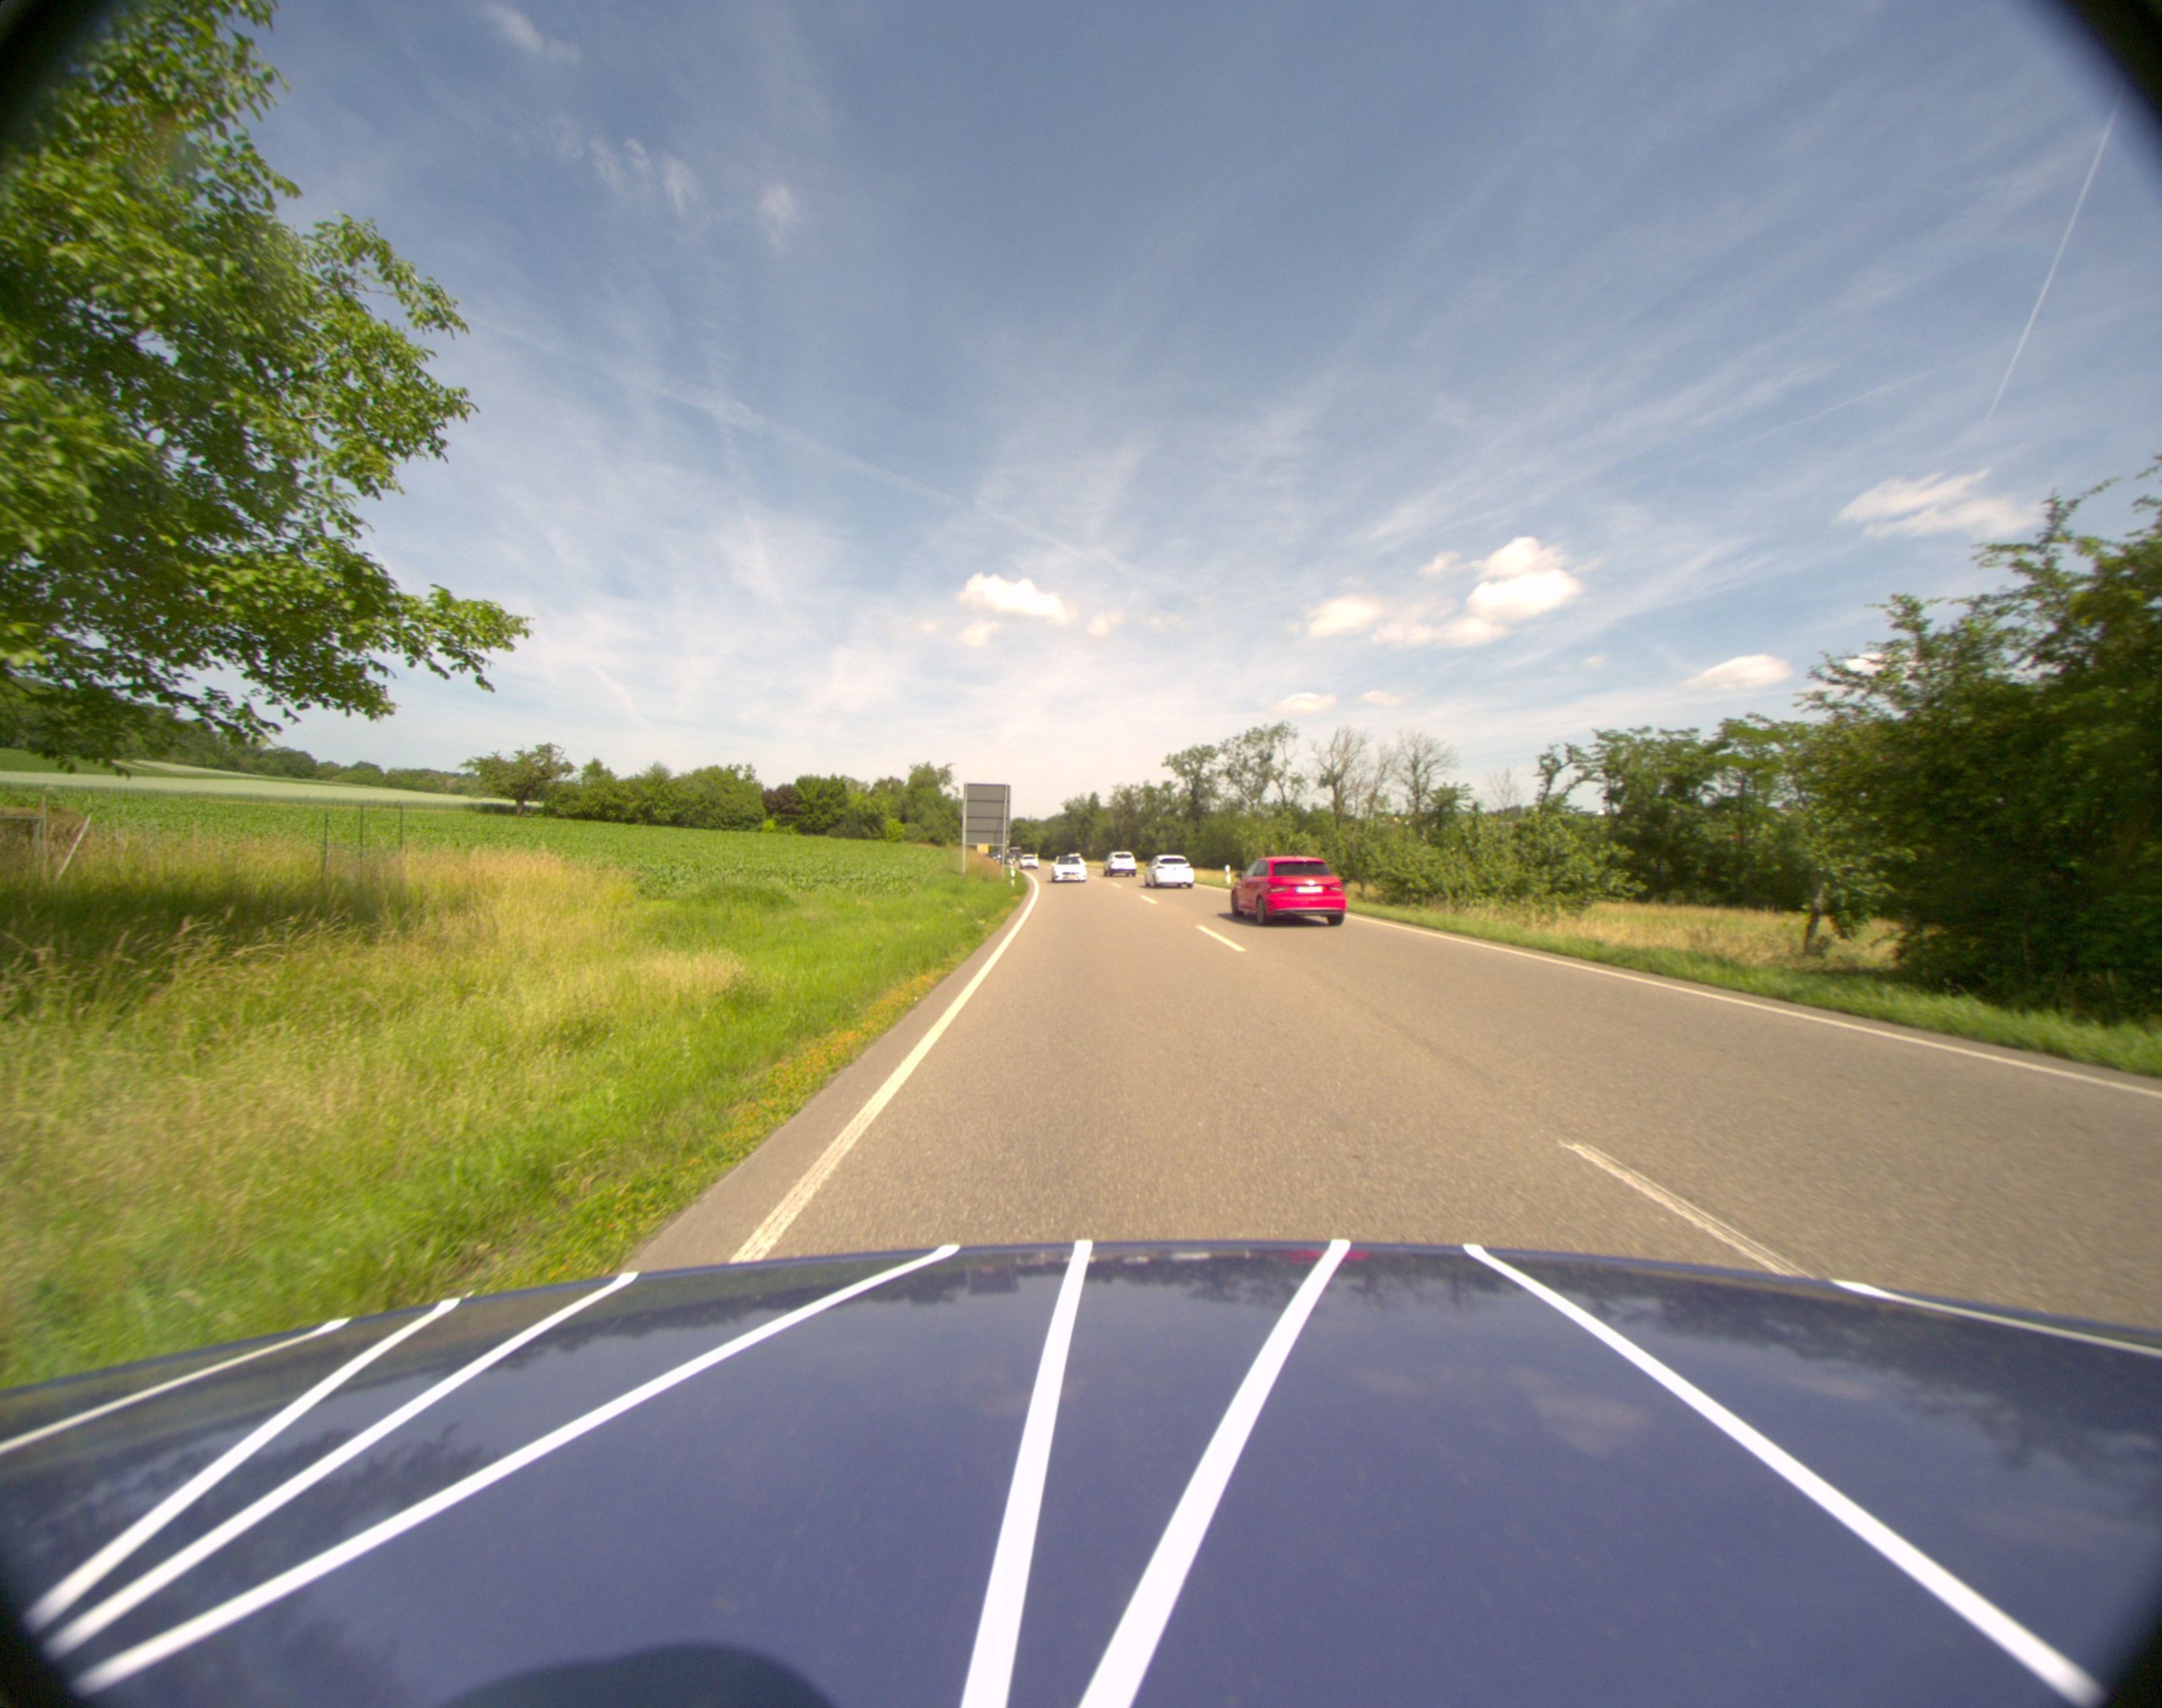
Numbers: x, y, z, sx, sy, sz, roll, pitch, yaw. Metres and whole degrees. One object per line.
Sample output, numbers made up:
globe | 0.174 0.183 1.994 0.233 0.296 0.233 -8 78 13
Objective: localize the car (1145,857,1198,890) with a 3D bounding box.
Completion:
car | 4.027 0.824 34.353 1.755 1.405 3.772 0 0 -2

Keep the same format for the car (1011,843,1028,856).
car | -10.956 -0.794 134.578 2.179 2.290 4.899 0 1 -14

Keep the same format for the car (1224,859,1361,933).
car | 4.517 0.830 16.900 1.825 1.390 4.182 -1 0 -1

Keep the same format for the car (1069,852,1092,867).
car | -0.114 0.551 78.355 1.796 1.513 4.157 -1 0 -8

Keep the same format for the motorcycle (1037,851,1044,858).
motorcycle | -6.088 0.105 114.009 0.759 0.988 2.278 -2 1 -7

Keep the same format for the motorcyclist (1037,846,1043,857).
motorcyclist | -6.154 -0.382 114.083 0.921 1.708 0.962 -1 1 -6

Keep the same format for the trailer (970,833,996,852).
trailer | -22.102 -2.640 170.424 3.010 4.020 12.891 3 0 -20

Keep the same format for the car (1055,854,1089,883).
car | -0.549 0.780 43.616 1.773 1.437 3.998 -2 1 -3

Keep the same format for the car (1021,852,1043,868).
car | -5.264 0.593 81.024 1.868 1.480 3.995 -2 2 -10

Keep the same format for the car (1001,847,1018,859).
car | -10.266 -0.169 108.654 1.827 1.510 3.994 3 0 -13

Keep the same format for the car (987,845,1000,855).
car | -15.063 -0.698 130.596 1.667 1.641 3.994 3 0 -13

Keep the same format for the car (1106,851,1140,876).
car | 2.800 0.639 51.674 1.838 1.607 4.361 0 -1 -3
